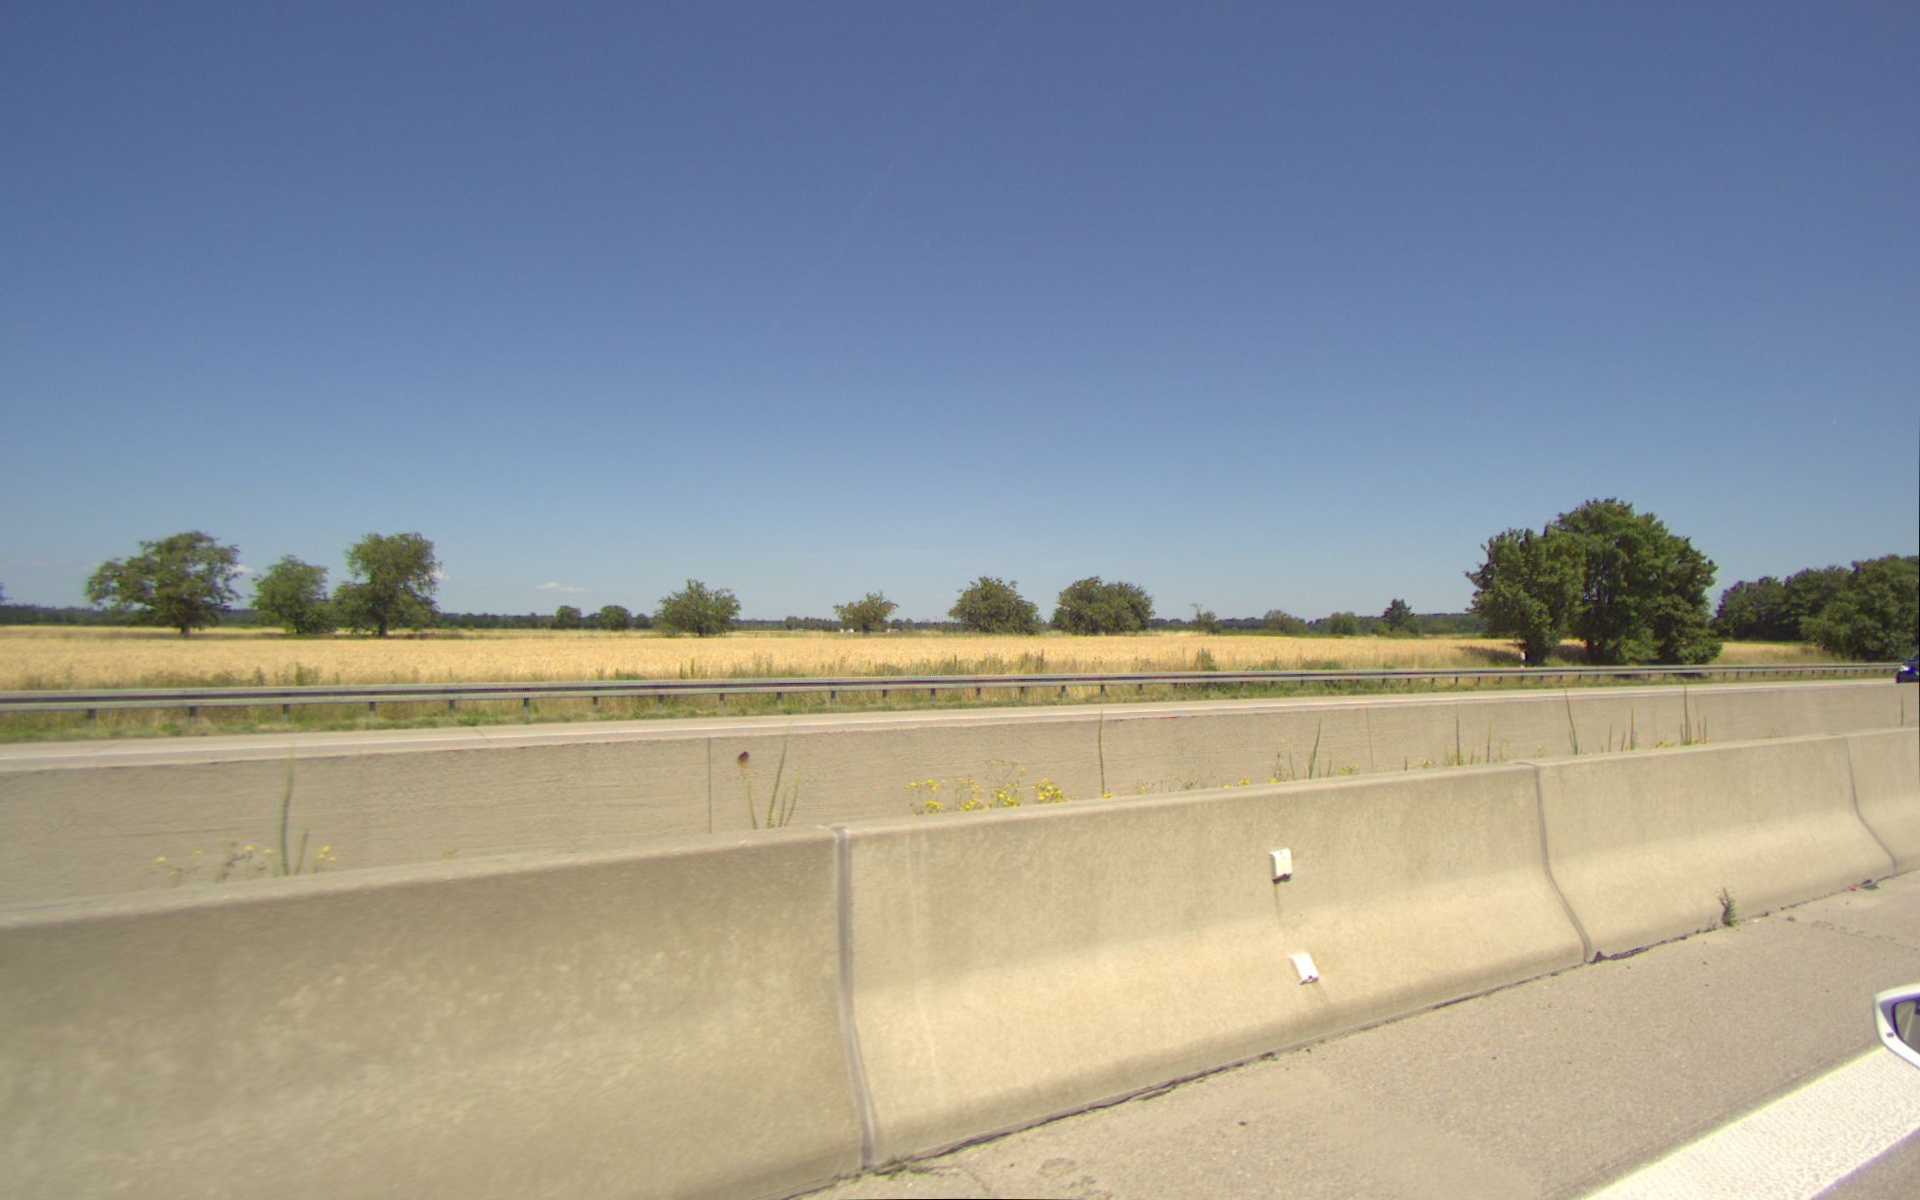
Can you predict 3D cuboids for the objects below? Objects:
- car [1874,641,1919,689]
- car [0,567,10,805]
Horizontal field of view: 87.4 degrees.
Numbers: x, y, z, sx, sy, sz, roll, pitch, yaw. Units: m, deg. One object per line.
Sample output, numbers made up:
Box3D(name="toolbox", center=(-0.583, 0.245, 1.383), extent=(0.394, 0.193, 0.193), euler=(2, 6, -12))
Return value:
Box3D(name="car", center=(33.423, 2.204, 34.325), extent=(4.460, 1.580, 1.985), euler=(1, -4, -31))
Box3D(name="car", center=(-8.067, 0.537, 4.769), extent=(4.792, 1.597, 1.984), euler=(1, 0, -31))
